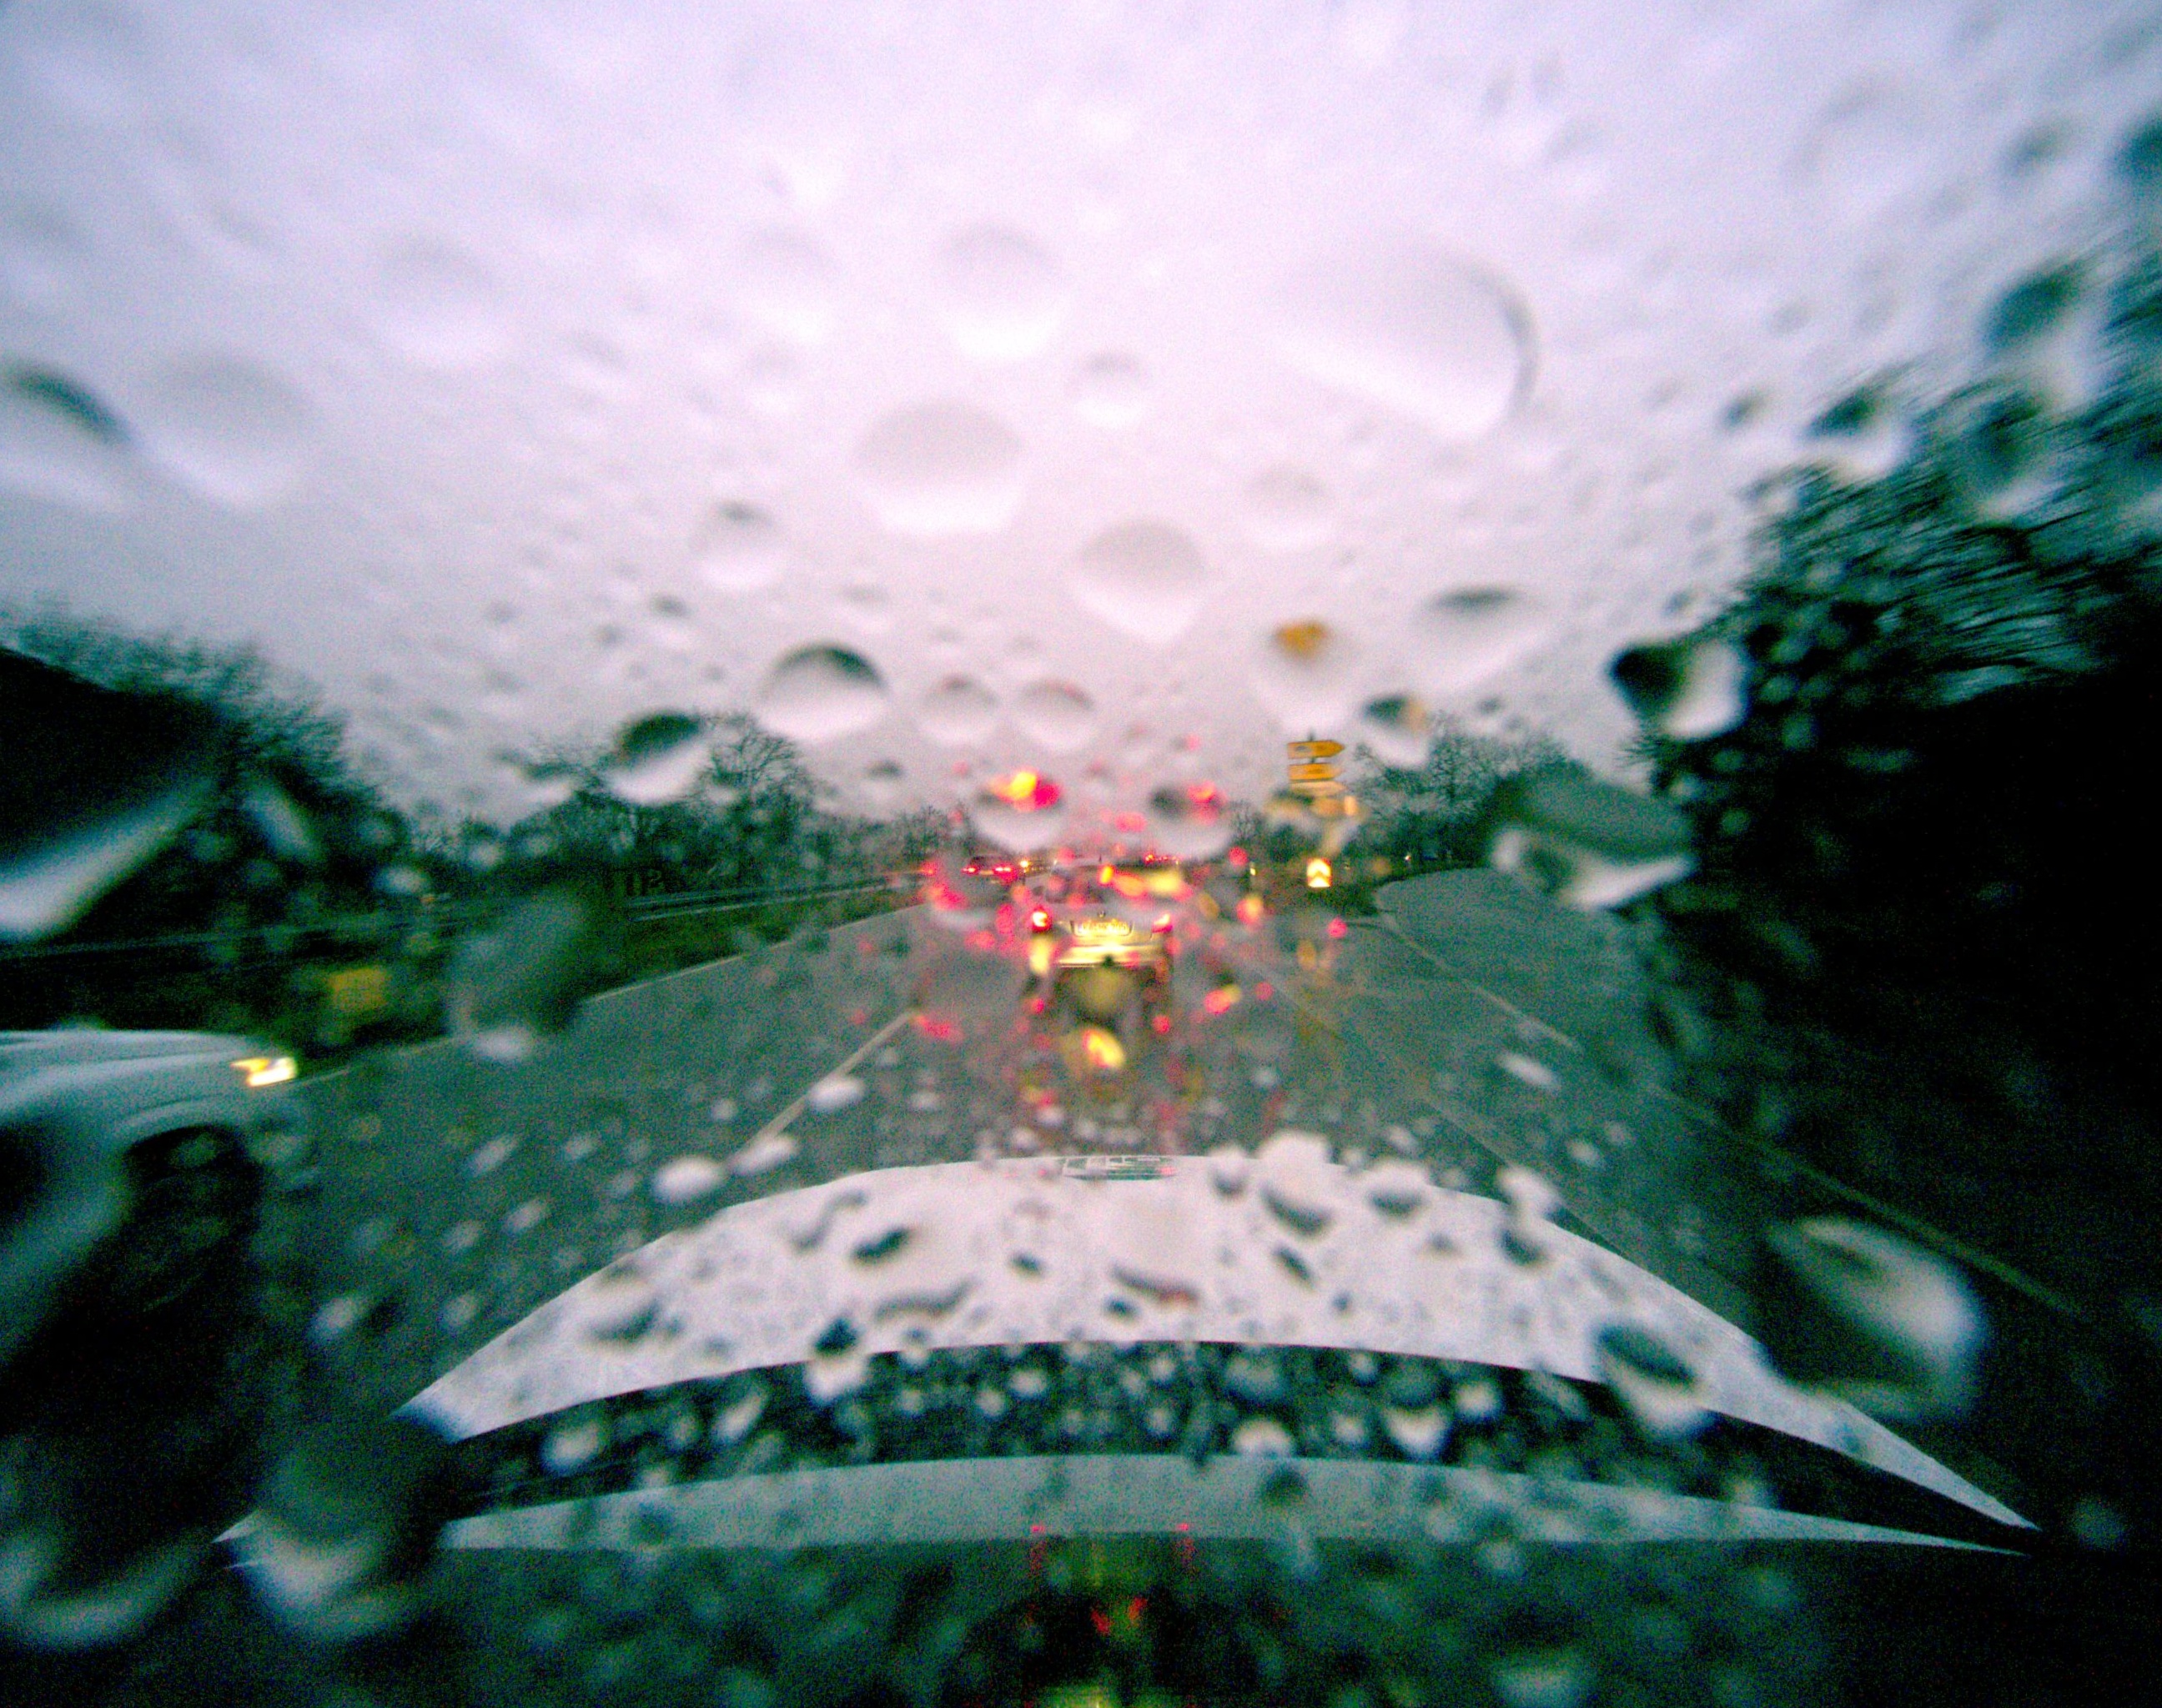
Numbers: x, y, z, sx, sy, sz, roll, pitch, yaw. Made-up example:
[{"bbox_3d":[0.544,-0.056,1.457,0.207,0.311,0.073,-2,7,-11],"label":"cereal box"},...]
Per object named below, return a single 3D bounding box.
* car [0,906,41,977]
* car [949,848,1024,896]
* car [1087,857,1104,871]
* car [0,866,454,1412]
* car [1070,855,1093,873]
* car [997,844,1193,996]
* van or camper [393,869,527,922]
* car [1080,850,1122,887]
[{"bbox_3d":[-25.957,2.061,17.282,1.779,1.609,4.678,-2,-1,-2],"label":"car"},{"bbox_3d":[-3.357,0.622,29.679,1.985,1.601,4.312,-1,0,3],"label":"car"},{"bbox_3d":[1.777,1.246,100.577,1.781,1.545,4.005,-3,0,4],"label":"car"},{"bbox_3d":[-3.830,0.809,1.557,1.716,1.440,4.231,-2,0,4],"label":"car"},{"bbox_3d":[0.078,0.896,76.349,1.781,1.545,4.005,-2,0,4],"label":"car"},{"bbox_3d":[0.301,0.707,10.544,1.984,1.500,4.143,-2,-1,4],"label":"car"},{"bbox_3d":[-23.646,1.528,31.216,1.641,1.784,4.213,-2,-1,5],"label":"van or camper"},{"bbox_3d":[1.115,0.721,42.536,1.888,1.767,4.314,-2,0,4],"label":"car"}]
